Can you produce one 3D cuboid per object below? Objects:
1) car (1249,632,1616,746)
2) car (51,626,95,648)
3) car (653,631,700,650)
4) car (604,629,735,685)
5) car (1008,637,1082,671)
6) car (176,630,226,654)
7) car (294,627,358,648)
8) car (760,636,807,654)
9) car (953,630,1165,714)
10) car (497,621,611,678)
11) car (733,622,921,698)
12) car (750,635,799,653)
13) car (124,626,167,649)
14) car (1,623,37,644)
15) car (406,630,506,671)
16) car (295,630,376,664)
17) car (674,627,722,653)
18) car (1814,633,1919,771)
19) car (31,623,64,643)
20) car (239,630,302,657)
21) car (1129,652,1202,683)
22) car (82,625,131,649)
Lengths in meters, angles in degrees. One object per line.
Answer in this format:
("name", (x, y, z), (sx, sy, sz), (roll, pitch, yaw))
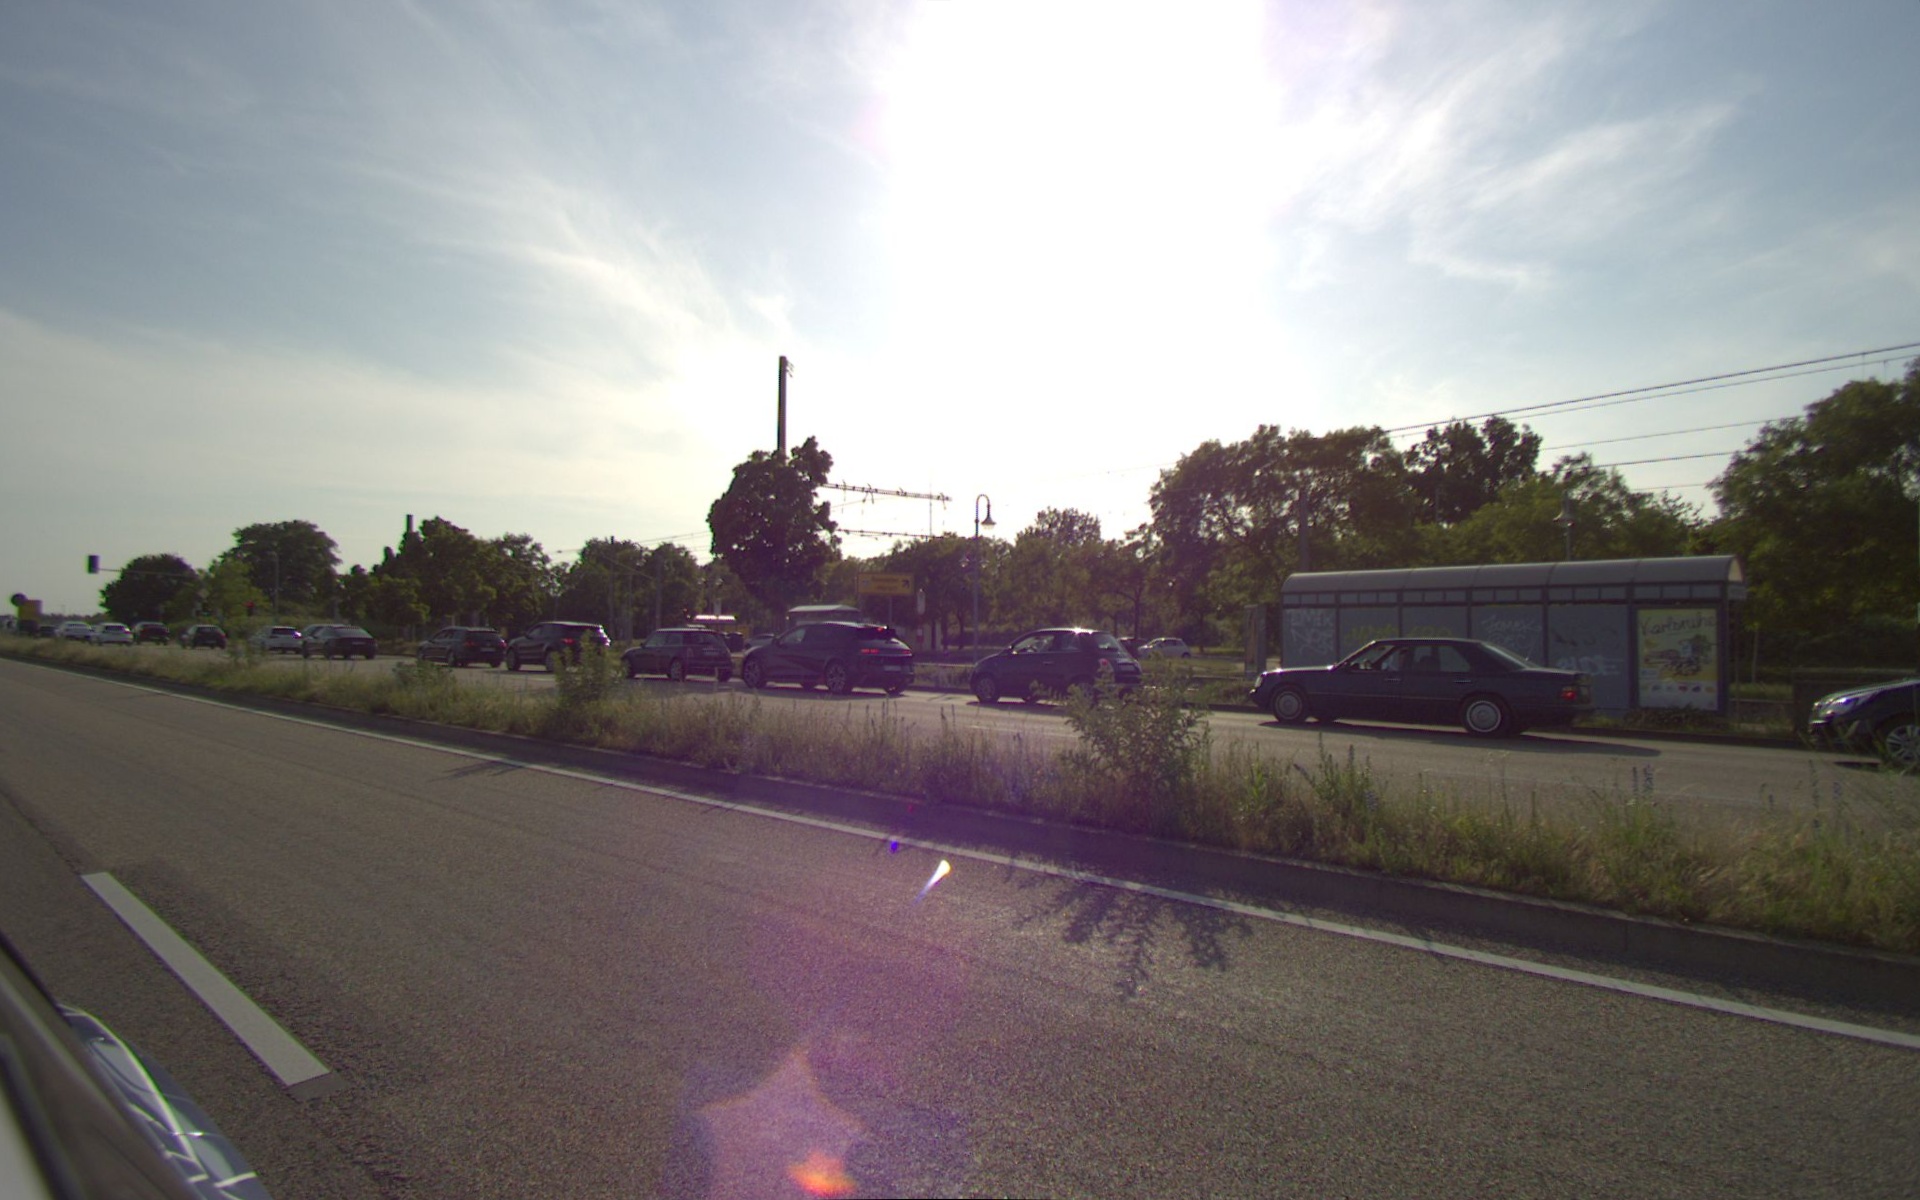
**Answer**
("car", (6.891, 1.224, 15.130), (4.715, 1.442, 1.643), (-1, -4, 41))
("car", (-63.532, 2.643, 72.468), (4.582, 1.519, 1.733), (-1, -4, 42))
("car", (-23.325, 3.338, 83.446), (1.820, 1.431, 3.974), (-1, 0, 20))
("car", (-8.048, 1.536, 27.916), (3.803, 1.442, 1.643), (-1, -4, 41))
("car", (4.884, 3.052, 57.887), (3.937, 1.674, 2.003), (-1, -1, -41))
("car", (-46.547, 2.550, 62.050), (3.998, 1.391, 1.643), (-1, -4, 41))
("car", (-61.444, 3.603, 98.184), (2.250, 1.901, 4.787), (-1, 0, 36))
("car", (-16.649, 4.260, 95.478), (3.959, 1.549, 1.992), (-1, 0, 12))
("car", (1.830, 1.329, 19.405), (3.803, 1.442, 1.643), (-1, -4, 41))
("car", (-13.121, 1.575, 32.602), (4.227, 1.700, 1.643), (-1, -4, 41))
("car", (-3.106, 1.330, 23.051), (4.543, 1.574, 1.643), (-1, -4, 41))
("car", (-17.053, 4.072, 92.994), (3.959, 1.549, 1.992), (-1, 0, 12))
("car", (-59.744, 2.730, 74.202), (3.998, 1.602, 1.778), (-1, -4, 41))
("car", (-83.228, 2.985, 89.467), (4.527, 1.759, 1.838), (-1, -4, 42))
("car", (-18.406, 1.829, 36.868), (4.539, 1.391, 1.643), (-1, -4, 41))
("car", (-27.652, 2.044, 44.749), (4.973, 1.426, 1.643), (-1, -4, 41))
("car", (-20.595, 3.114, 79.604), (1.822, 1.892, 3.647), (-1, 0, 23))
("car", (11.530, 1.092, 10.489), (4.054, 1.442, 1.643), (-1, -4, 41))
("car", (-97.476, 3.523, 108.115), (5.077, 1.988, 1.972), (-1, -4, 42))
("car", (-36.577, 2.294, 53.662), (4.466, 1.391, 1.643), (-1, -4, 41))
("car", (12.782, 4.193, 62.947), (3.931, 1.674, 2.006), (-1, 0, -18))
("car", (-55.371, 2.393, 65.635), (4.293, 1.481, 1.799), (-1, -4, 42))
